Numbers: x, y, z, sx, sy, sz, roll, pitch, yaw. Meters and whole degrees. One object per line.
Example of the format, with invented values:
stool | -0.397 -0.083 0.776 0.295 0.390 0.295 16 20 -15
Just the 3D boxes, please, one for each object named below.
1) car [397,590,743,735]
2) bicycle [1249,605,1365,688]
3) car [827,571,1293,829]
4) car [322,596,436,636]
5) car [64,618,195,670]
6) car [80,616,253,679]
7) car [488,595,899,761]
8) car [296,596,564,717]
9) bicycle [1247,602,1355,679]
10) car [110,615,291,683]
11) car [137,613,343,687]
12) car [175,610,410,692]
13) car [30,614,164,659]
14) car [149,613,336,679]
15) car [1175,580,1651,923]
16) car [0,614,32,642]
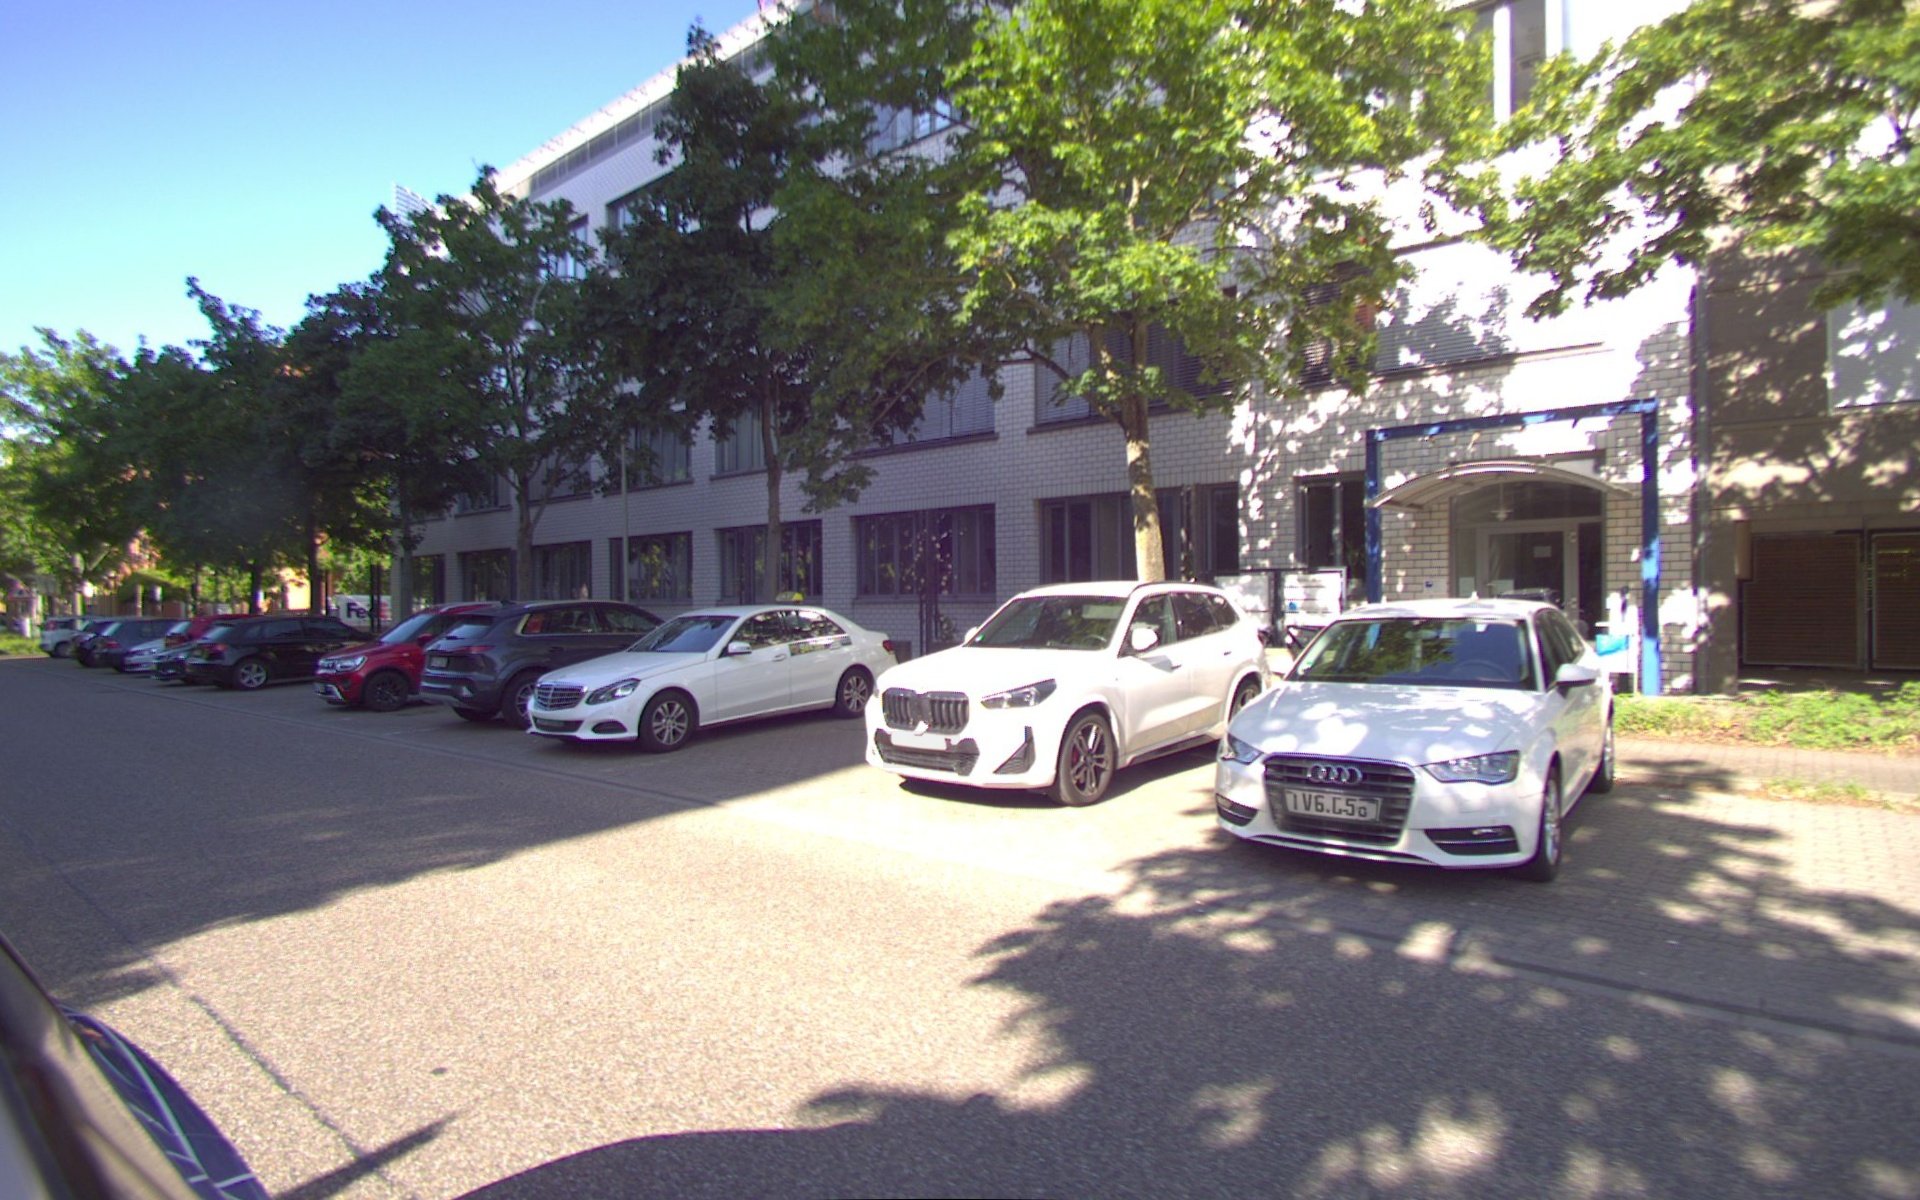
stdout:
car | -5.215 0.725 13.958 1.802 1.632 4.069 -1 0 42
bicycle | 5.198 0.680 15.226 1.627 1.184 0.334 -1 0 41
car | 1.085 0.598 8.718 1.952 1.614 4.182 0 2 41
car | -32.839 0.871 57.299 1.930 2.114 5.264 -1 0 38
car | -25.304 1.298 30.901 1.388 1.454 2.896 -1 0 40
car | -21.895 1.259 28.012 1.645 1.517 3.495 -1 0 39
car | -2.891 0.749 11.944 1.937 1.462 4.469 -1 1 36
car | -8.623 0.834 16.641 1.654 1.681 3.534 -1 0 43
bicycle | 5.448 0.629 16.226 1.627 1.184 0.334 -1 0 41
car | -19.829 1.221 26.519 1.656 1.541 3.483 -1 0 39
car | -16.207 1.070 22.898 1.656 1.447 3.495 -1 0 39
car | -13.946 1.026 21.315 1.685 1.424 3.785 -3 0 39
car | -32.274 1.320 37.935 1.616 1.519 3.586 -1 0 38
car | -17.873 1.096 25.333 1.655 1.456 3.497 -1 0 37
car | 3.208 0.660 6.615 1.798 1.491 4.216 -1 -1 39
car | -58.707 1.689 60.039 1.953 1.637 5.184 -1 0 42
